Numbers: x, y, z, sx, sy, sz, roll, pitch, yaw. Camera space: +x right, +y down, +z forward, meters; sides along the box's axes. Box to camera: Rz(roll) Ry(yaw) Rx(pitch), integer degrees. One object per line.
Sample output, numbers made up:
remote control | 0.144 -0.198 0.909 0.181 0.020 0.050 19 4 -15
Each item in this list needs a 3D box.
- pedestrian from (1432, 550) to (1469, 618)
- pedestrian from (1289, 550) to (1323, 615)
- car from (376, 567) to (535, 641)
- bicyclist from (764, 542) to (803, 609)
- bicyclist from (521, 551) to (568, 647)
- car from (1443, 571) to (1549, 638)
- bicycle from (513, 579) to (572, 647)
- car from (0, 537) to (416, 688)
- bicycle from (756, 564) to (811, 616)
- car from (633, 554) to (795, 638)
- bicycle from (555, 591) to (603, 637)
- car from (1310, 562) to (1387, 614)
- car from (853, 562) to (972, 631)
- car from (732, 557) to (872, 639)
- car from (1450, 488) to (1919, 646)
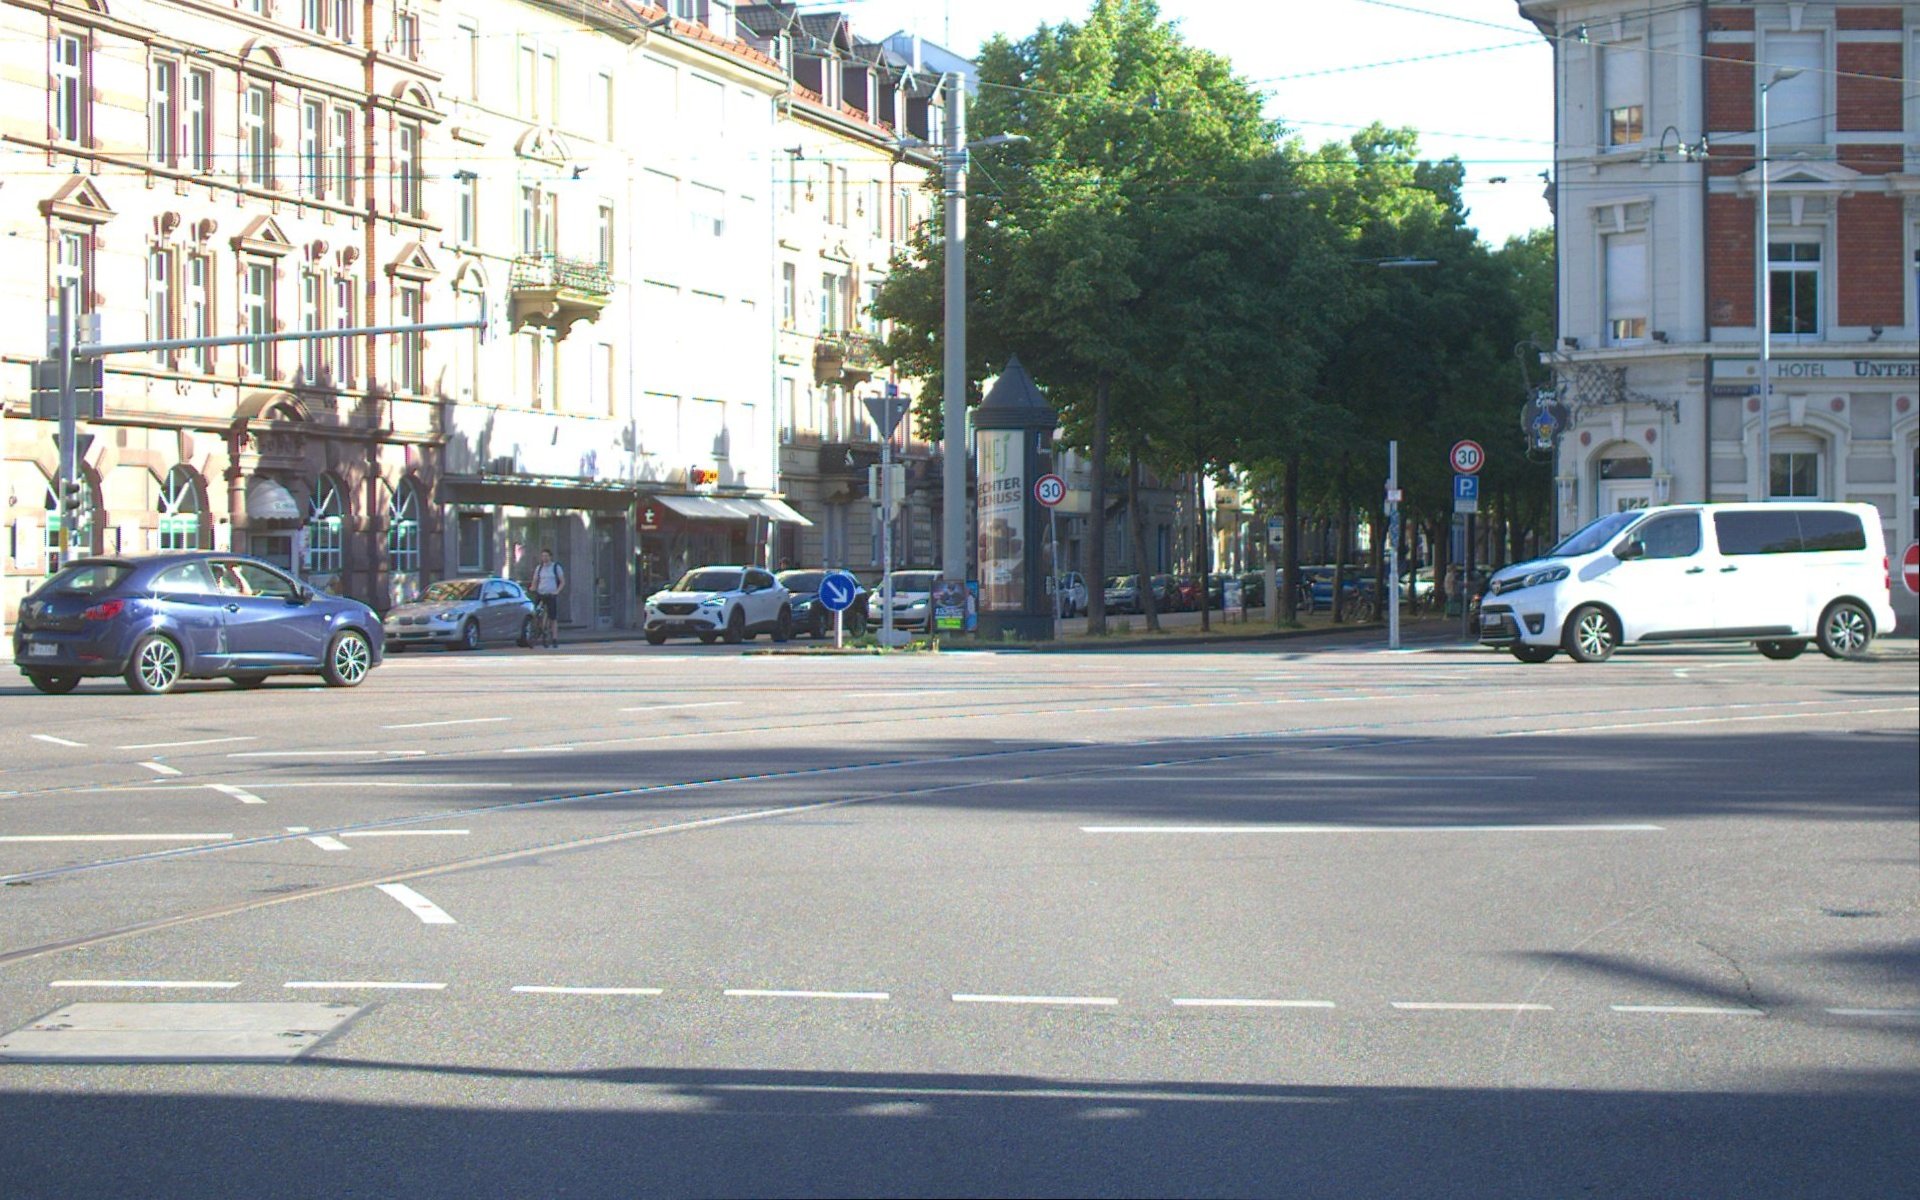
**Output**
pedestrian | 14.682 -0.473 102.903 0.961 2.007 0.918 1 0 1
pedestrian | 10.926 -0.550 108.474 0.944 2.007 0.826 1 0 14
car | -9.792 0.058 66.987 1.661 1.369 3.889 1 1 15
bicyclist | -4.109 -0.569 80.133 0.674 1.563 0.747 1 0 18
bicyclist | -7.853 -0.026 65.052 0.565 1.797 0.913 1 0 15
car | 12.902 0.091 82.646 1.758 1.550 3.996 1 1 20
bicycle | -7.878 0.240 64.938 0.565 1.250 1.556 1 1 14
car | -7.522 0.080 34.153 1.830 1.398 3.991 1 1 39
bicycle | -4.114 -0.240 80.134 0.674 1.203 1.820 1 1 18
car | -4.769 -0.093 67.264 1.804 1.579 4.156 1 1 17
bicycle | -7.679 0.280 69.374 0.473 0.919 1.451 1 1 14
car | 13.152 -0.417 116.175 1.995 1.678 3.997 1 1 15
car | -1.096 -0.087 81.339 1.804 1.570 3.888 1 1 15
car | -3.355 -0.064 73.601 1.826 1.679 3.872 1 1 16
car | 8.738 -0.402 41.515 5.197 1.847 2.001 0 1 -11
